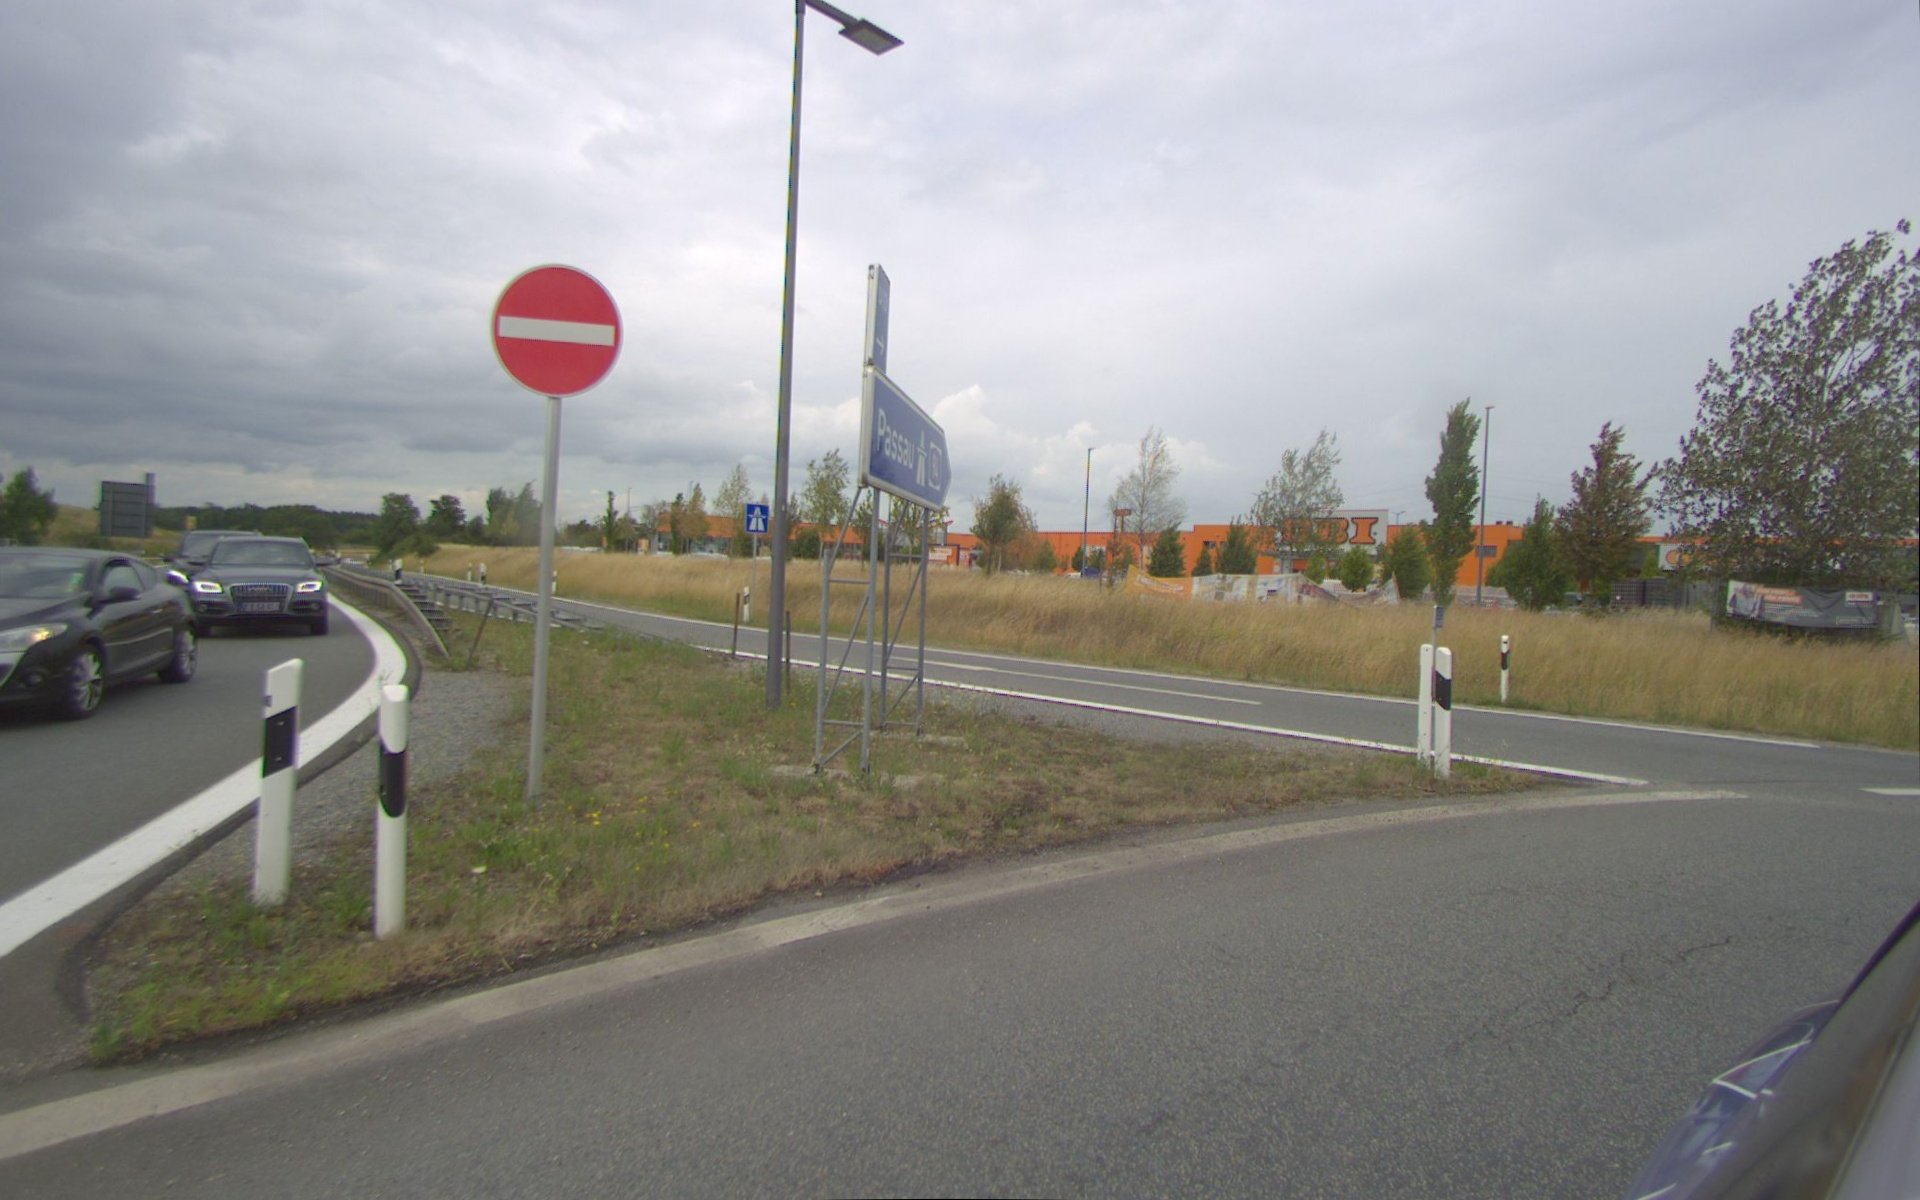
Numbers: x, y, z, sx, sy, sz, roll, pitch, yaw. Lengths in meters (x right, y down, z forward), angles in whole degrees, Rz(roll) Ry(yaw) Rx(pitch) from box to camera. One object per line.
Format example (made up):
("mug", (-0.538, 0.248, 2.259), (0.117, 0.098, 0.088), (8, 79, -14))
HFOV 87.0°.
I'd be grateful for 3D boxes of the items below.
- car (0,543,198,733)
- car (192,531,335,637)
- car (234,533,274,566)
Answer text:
("car", (-8.465, 0.188, 9.021), (1.805, 1.387, 4.154), (0, 2, -25))
("car", (-12.031, -0.346, 17.588), (1.848, 1.602, 4.279), (0, 3, -34))
("car", (-38.876, -2.796, 55.755), (1.730, 1.684, 4.002), (0, 3, -35))
